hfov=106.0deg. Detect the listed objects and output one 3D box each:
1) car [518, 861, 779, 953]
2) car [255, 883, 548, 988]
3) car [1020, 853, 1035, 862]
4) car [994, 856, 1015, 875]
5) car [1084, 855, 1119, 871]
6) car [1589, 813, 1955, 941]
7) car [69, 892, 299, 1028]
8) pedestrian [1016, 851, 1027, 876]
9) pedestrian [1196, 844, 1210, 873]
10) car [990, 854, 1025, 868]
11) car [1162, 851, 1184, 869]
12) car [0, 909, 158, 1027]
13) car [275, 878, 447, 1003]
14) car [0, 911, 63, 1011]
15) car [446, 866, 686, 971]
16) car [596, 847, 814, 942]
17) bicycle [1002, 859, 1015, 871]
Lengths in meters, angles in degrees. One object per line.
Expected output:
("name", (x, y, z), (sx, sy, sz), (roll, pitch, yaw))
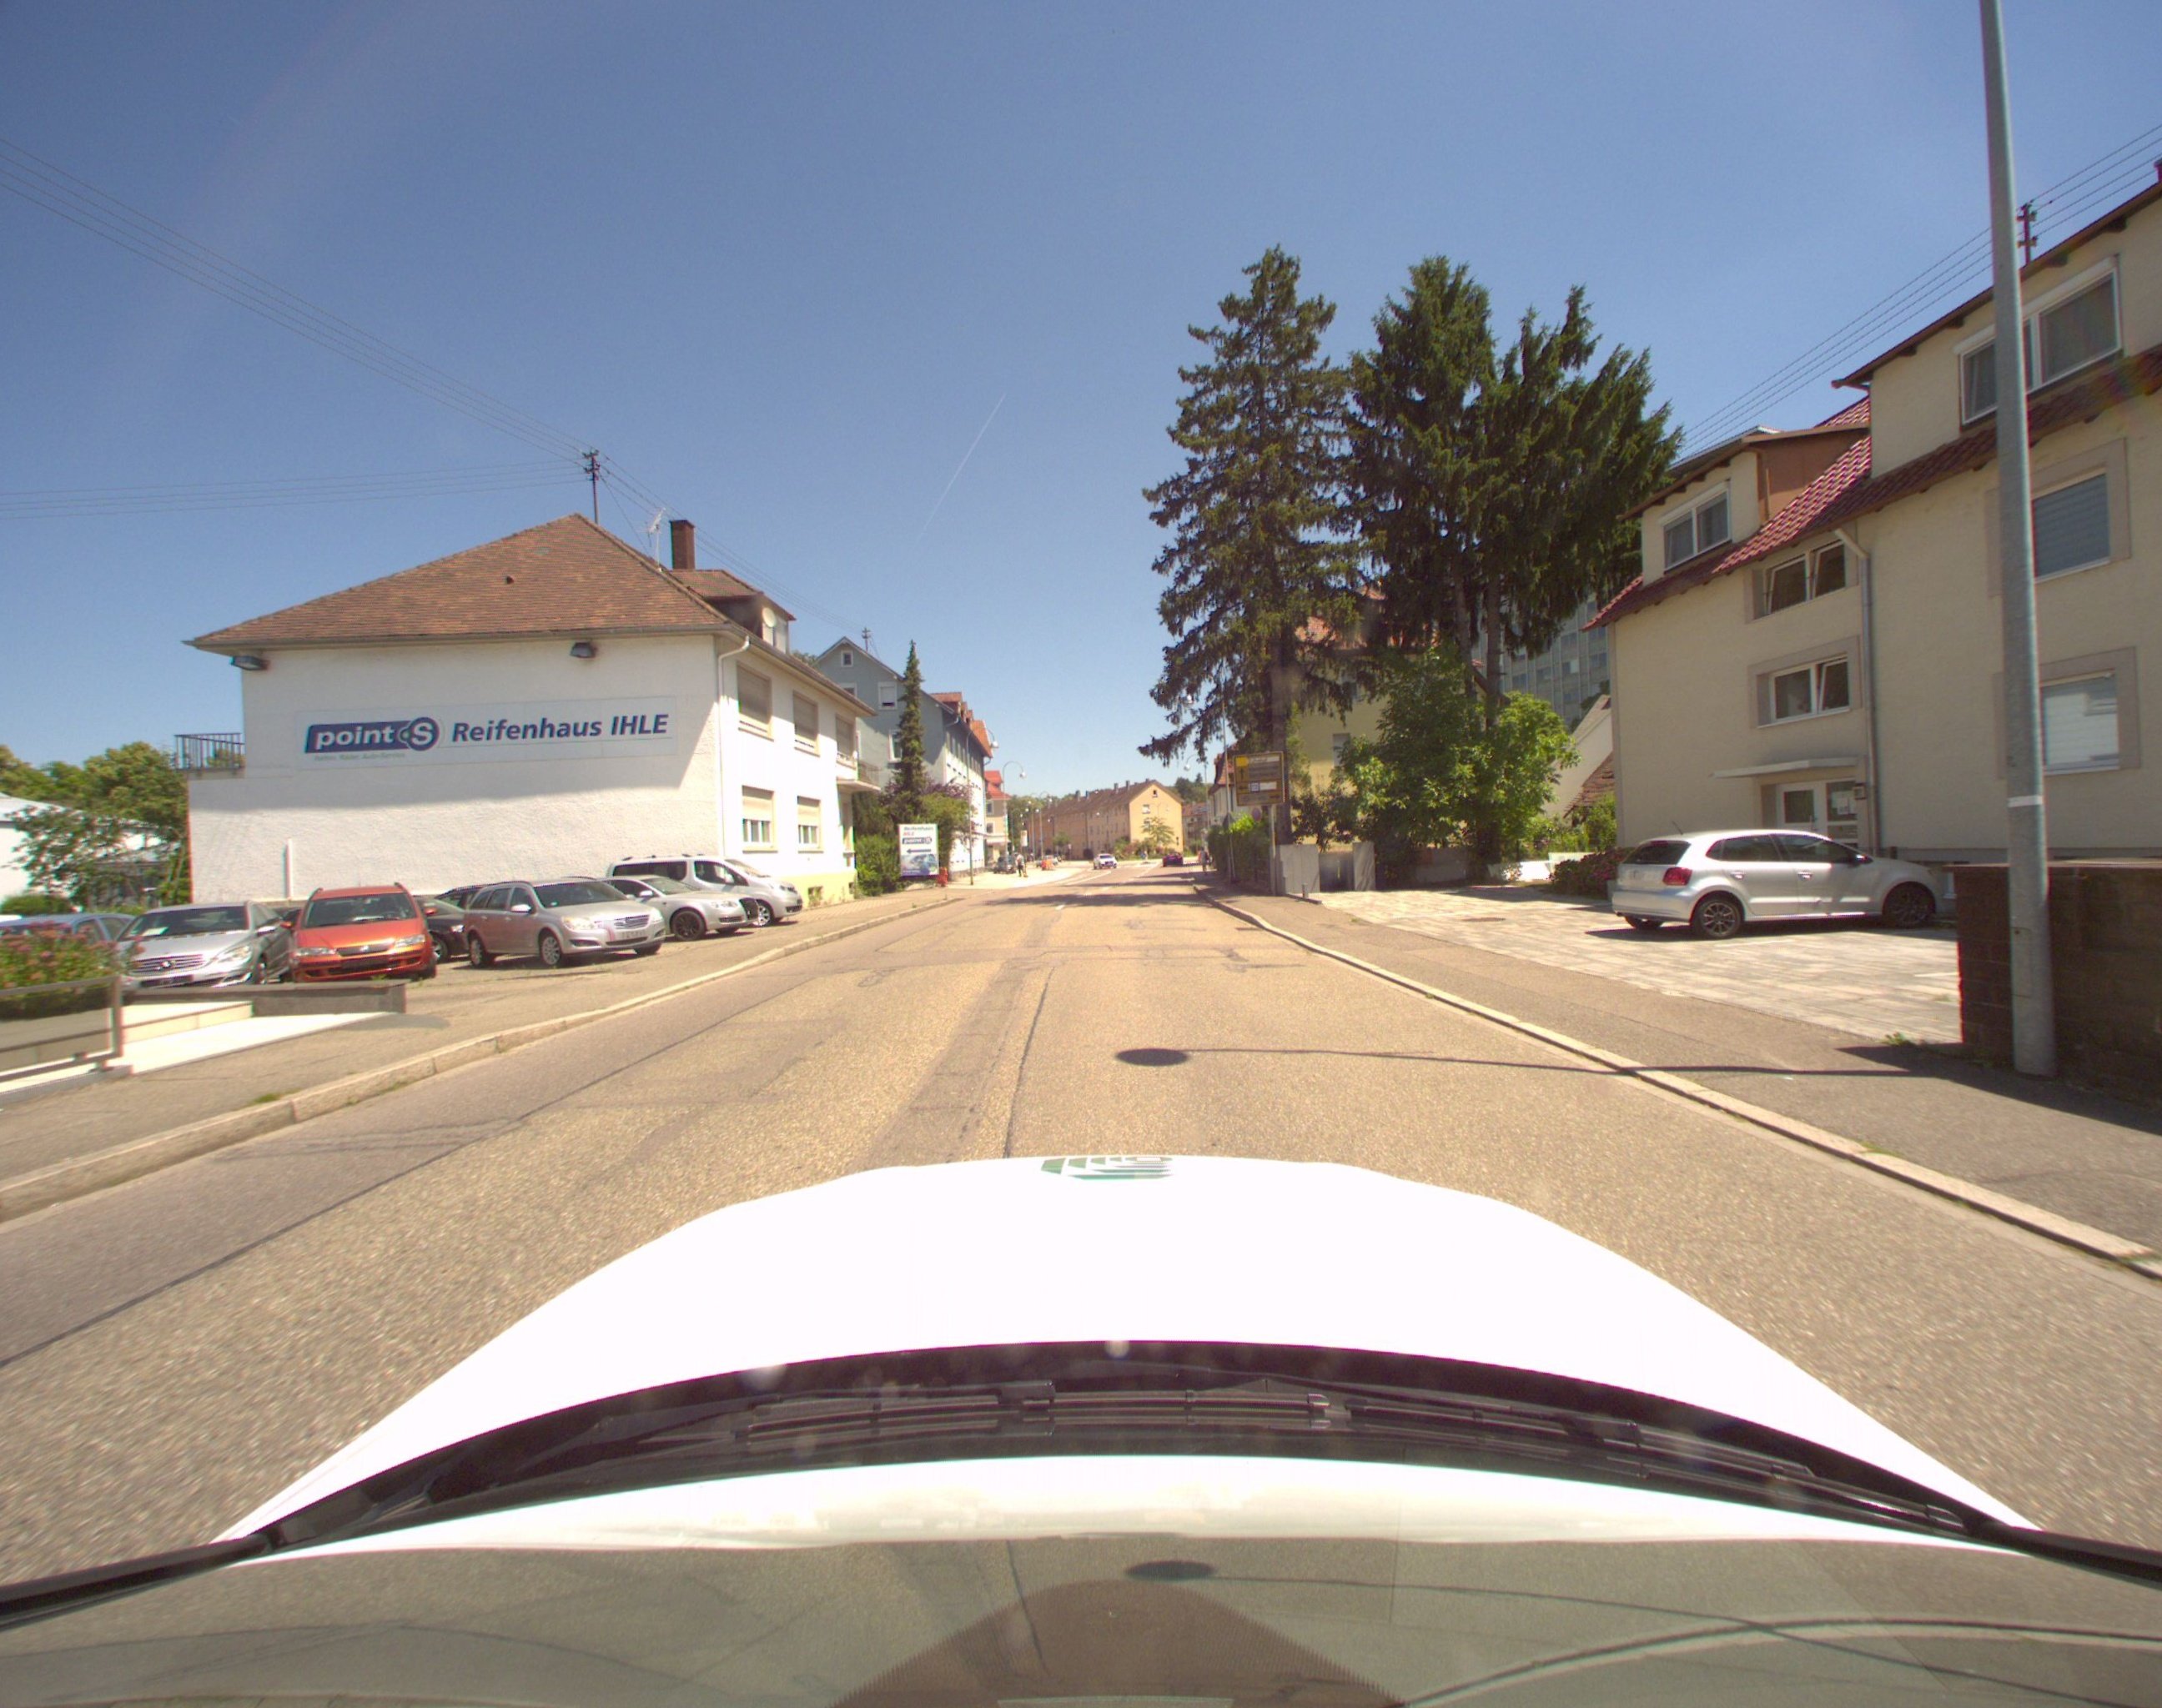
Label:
("car", (-9.149, 1.084, 17.508), (4.453, 1.495, 1.977), (-4, 0, 2))
("car", (-14.269, 1.674, 17.303), (4.454, 1.495, 1.977), (-7, 0, 2))
("car", (-10.913, 0.673, 165.480), (1.819, 1.794, 3.971), (-1, -1, -22))
("car", (-6.557, 0.973, 70.249), (1.574, 1.534, 3.771), (-2, -1, -3))
("car", (2.136, 0.990, 85.471), (1.833, 1.530, 3.910), (-2, -2, -32))
("car", (9.640, 0.327, 11.626), (3.603, 1.530, 1.779), (-2, -1, 3))
("car", (-14.813, 1.645, 13.724), (2.011, 1.727, 3.952), (-5, 0, -41))
("pedestrian", (-4.483, 0.697, 61.540), (0.753, 1.848, 0.771), (1, 0, -1))
("pedestrian", (6.979, 0.260, 46.627), (0.620, 1.644, 0.773), (-3, -1, 3))
("car", (-8.909, 0.859, 98.486), (4.108, 1.551, 1.784), (-1, 0, -5))
("car", (8.578, 0.581, 76.330), (1.862, 1.530, 4.512), (-3, -1, 5))
("car", (-17.332, 1.849, 13.280), (1.832, 1.624, 3.904), (-6, 1, -32))
("car", (-12.214, 1.361, 13.892), (1.863, 1.644, 4.156), (-5, 1, -42))
("car", (-20.252, 2.050, 13.981), (1.830, 1.755, 4.146), (-6, 2, -28))
("car", (-9.165, 1.132, 14.424), (4.219, 1.495, 1.889), (-4, 0, 32))
("car", (-9.065, 0.928, 19.957), (4.346, 1.877, 1.846), (-4, 0, -6))
("bicycle", (-5.904, 0.893, 66.226), (0.492, 0.977, 1.979), (2, 0, 12))
